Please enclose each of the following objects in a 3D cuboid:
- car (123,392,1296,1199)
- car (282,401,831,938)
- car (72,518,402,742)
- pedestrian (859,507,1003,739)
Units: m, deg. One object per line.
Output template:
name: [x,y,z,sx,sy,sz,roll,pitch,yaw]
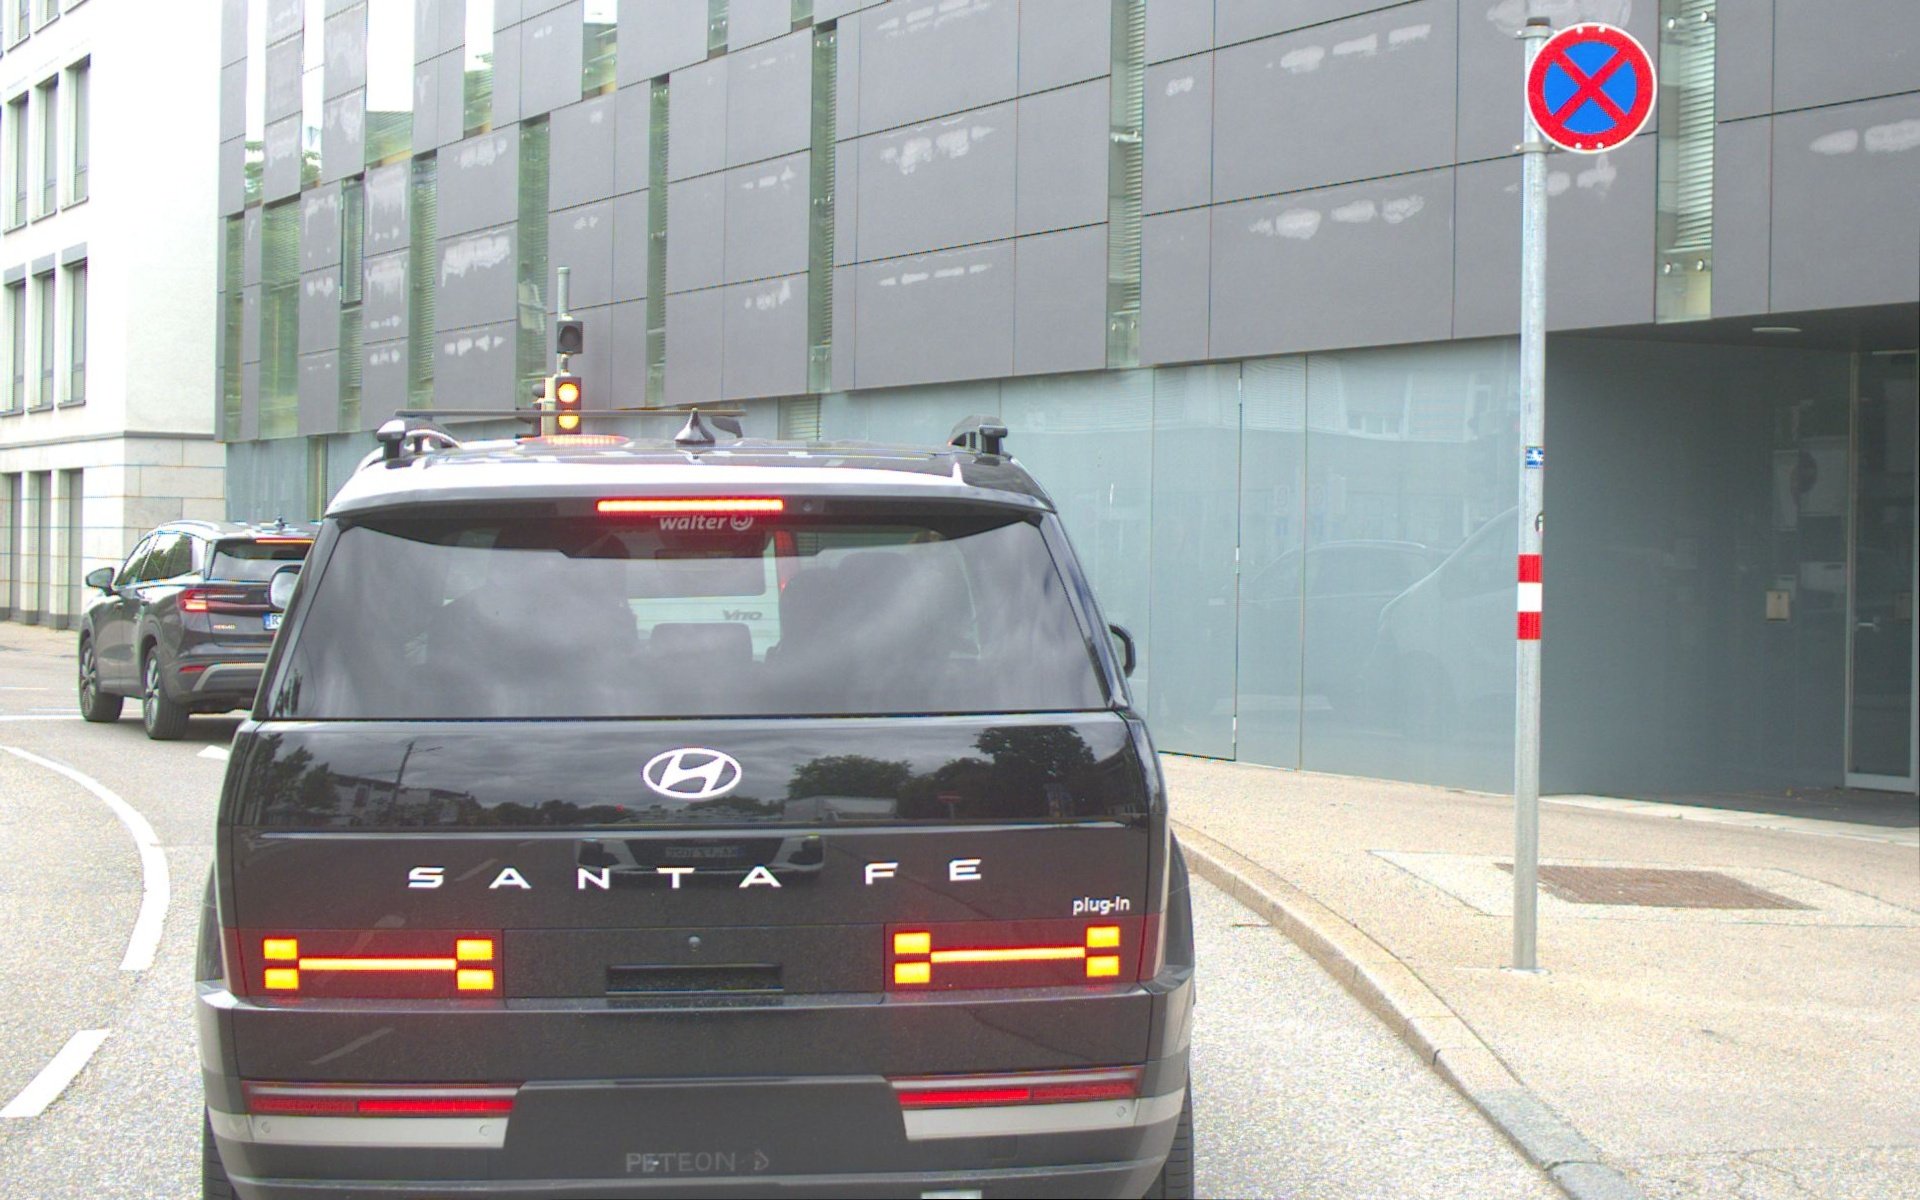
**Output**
car: [-0.645,0.500,7.798,1.908,1.743,4.398,0,1,-7]
car: [-1.939,0.226,15.141,1.931,1.987,4.536,1,1,-12]
car: [-5.730,0.179,26.881,1.759,1.603,4.189,1,1,-23]
pedestrian: [-0.221,0.166,25.495,0.711,1.688,0.866,1,0,-27]
